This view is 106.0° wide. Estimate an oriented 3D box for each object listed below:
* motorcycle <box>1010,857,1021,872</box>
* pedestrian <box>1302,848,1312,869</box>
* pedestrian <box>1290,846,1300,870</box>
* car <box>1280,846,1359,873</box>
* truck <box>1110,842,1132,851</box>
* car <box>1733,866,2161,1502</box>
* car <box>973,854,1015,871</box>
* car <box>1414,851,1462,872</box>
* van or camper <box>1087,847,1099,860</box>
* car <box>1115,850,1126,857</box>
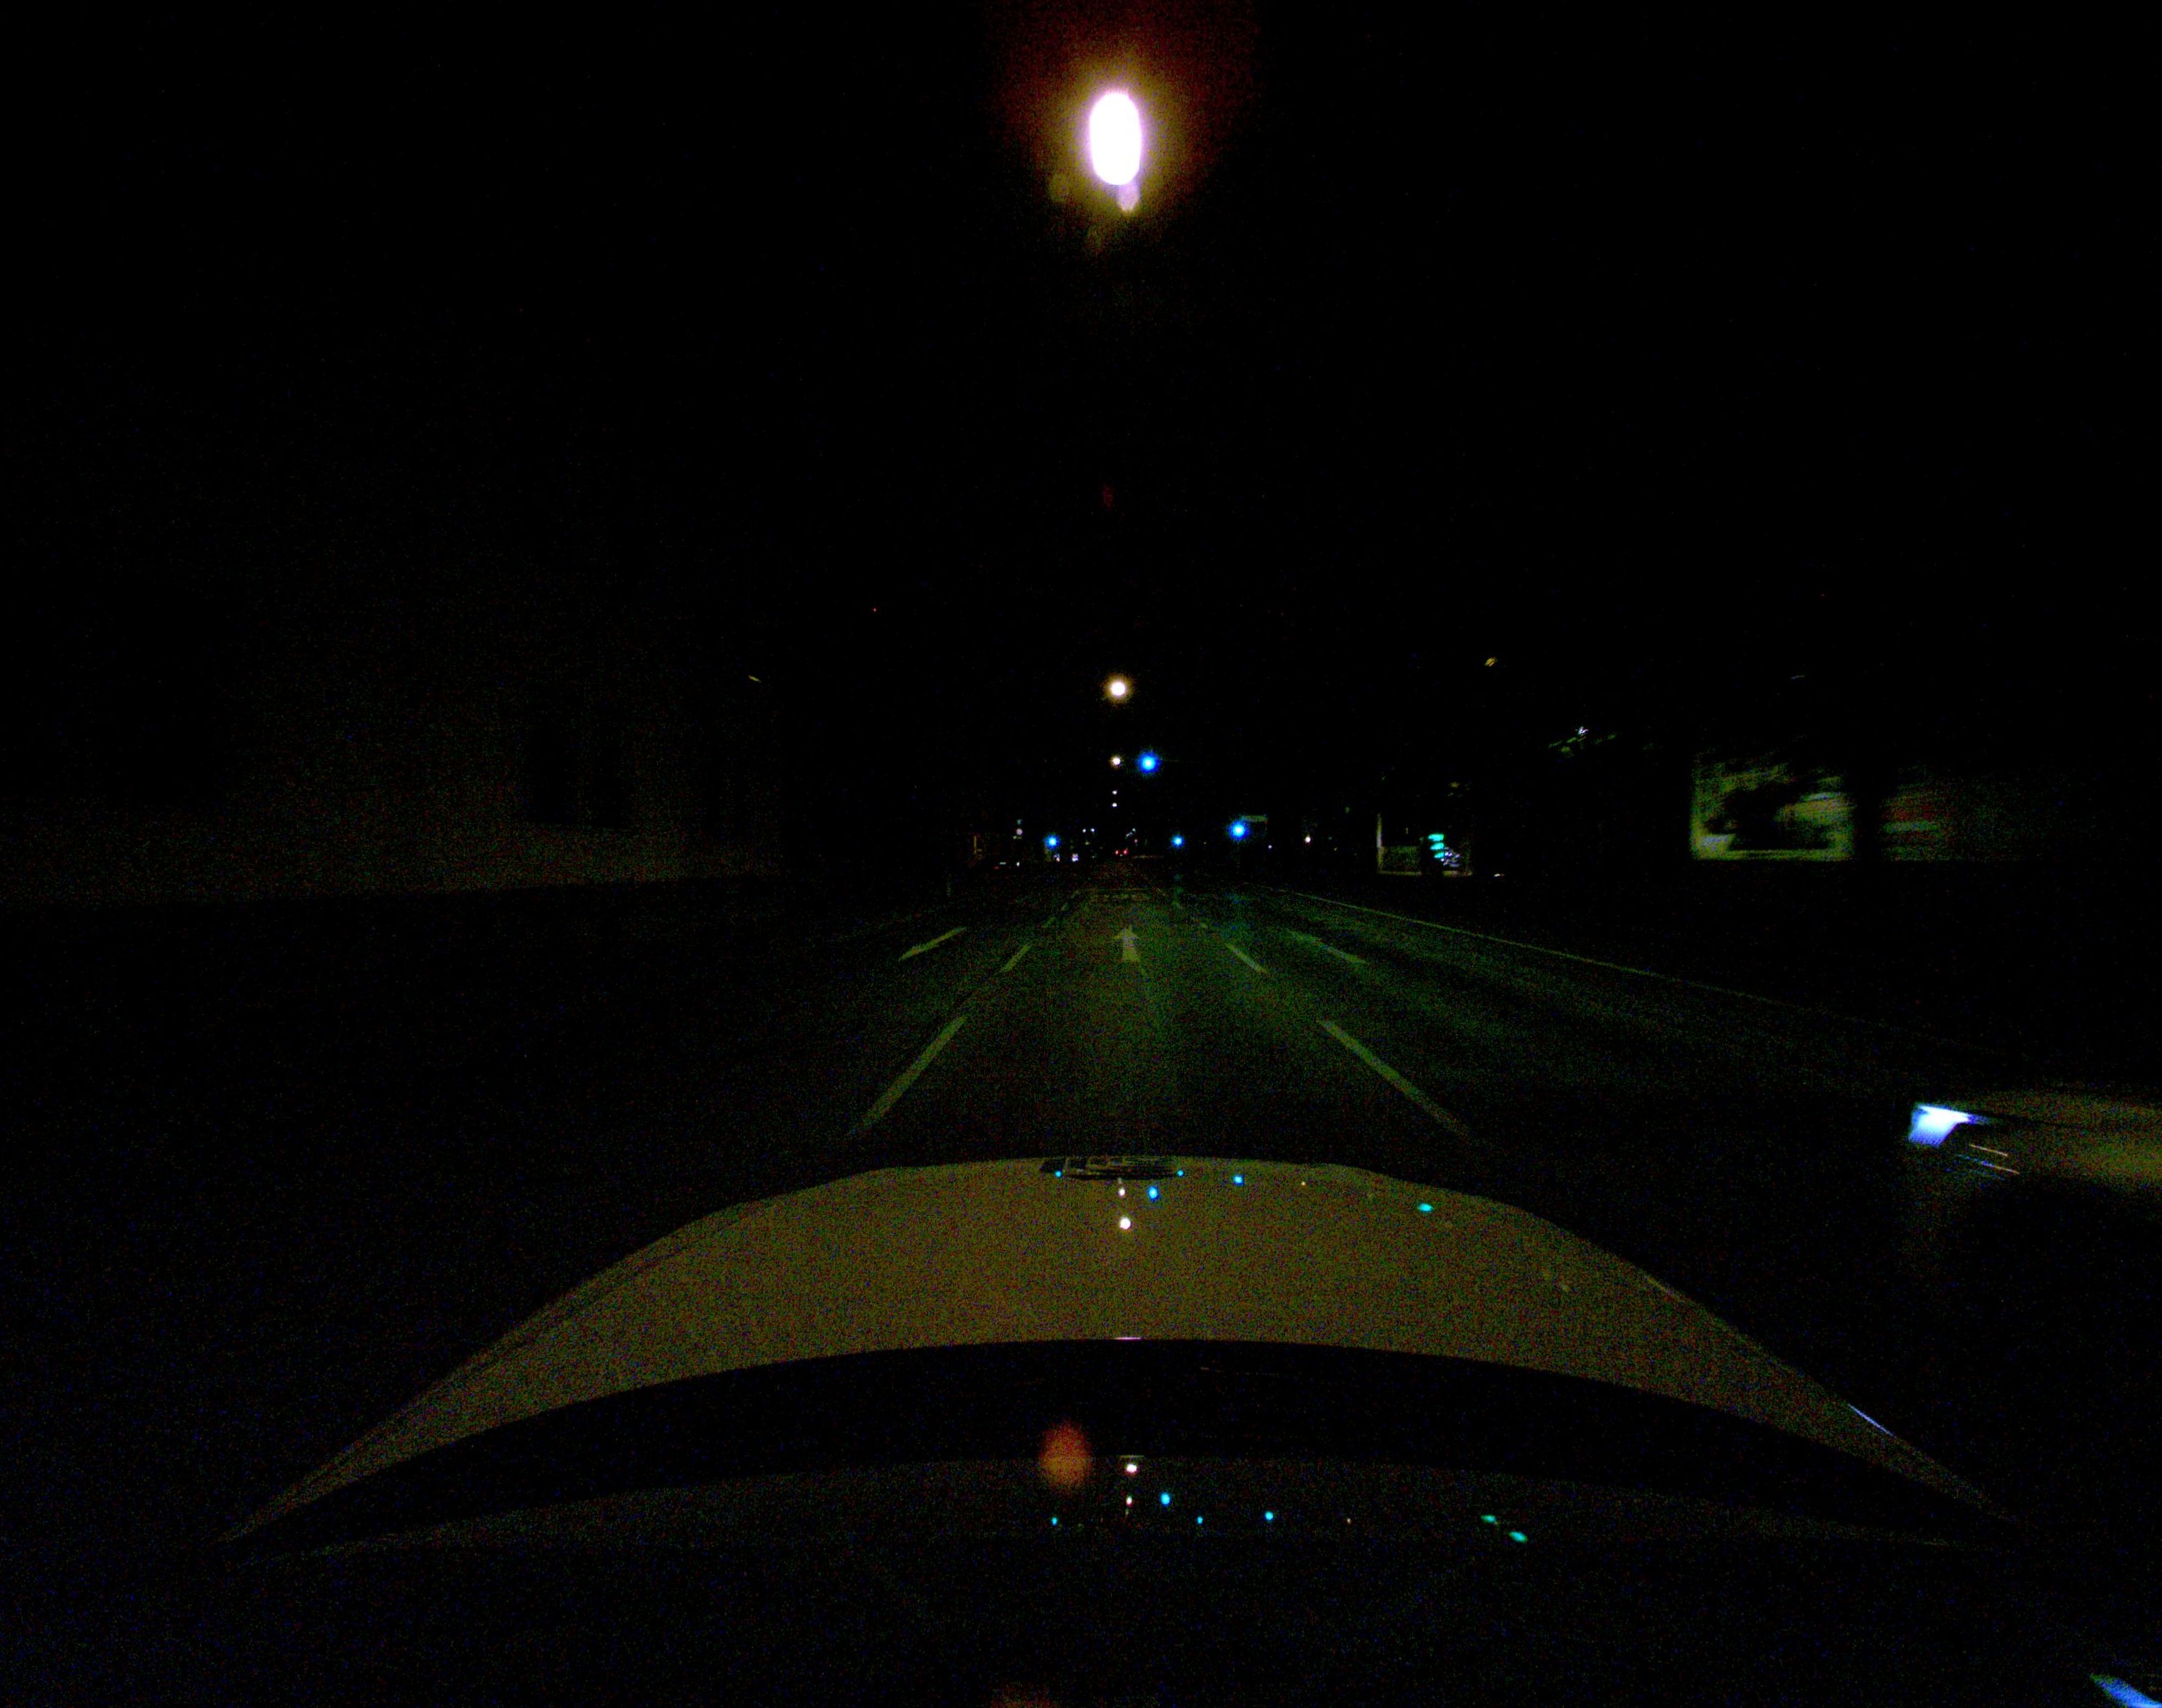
[{"bbox_3d":[-5.350,0.819,66.651,0.572,1.179,2.022,-1,0,-15],"label":"motorcycle"},{"bbox_3d":[17.600,0.374,63.425,0.618,1.639,0.679,-1,0,2],"label":"pedestrian"},{"bbox_3d":[16.701,0.310,63.609,0.619,1.811,0.759,-1,0,2],"label":"pedestrian"},{"bbox_3d":[13.826,0.305,47.398,4.066,1.454,1.787,-1,0,1],"label":"car"},{"bbox_3d":[12.403,-2.436,252.612,6.756,2.844,1.999,0,0,-1],"label":"truck"},{"bbox_3d":[3.286,0.772,0.880,1.717,1.430,4.501,0,0,2],"label":"car"},{"bbox_3d":[-7.507,0.737,69.833,1.898,1.424,4.685,-1,0,-29],"label":"car"},{"bbox_3d":[21.437,0.453,49.030,1.452,1.168,3.541,0,-1,2],"label":"car"},{"bbox_3d":[2.497,-0.060,164.742,2.150,2.535,6.229,-3,0,2],"label":"van or camper"},{"bbox_3d":[7.496,-0.048,153.530,1.653,1.342,3.636,-1,0,10],"label":"car"}]
